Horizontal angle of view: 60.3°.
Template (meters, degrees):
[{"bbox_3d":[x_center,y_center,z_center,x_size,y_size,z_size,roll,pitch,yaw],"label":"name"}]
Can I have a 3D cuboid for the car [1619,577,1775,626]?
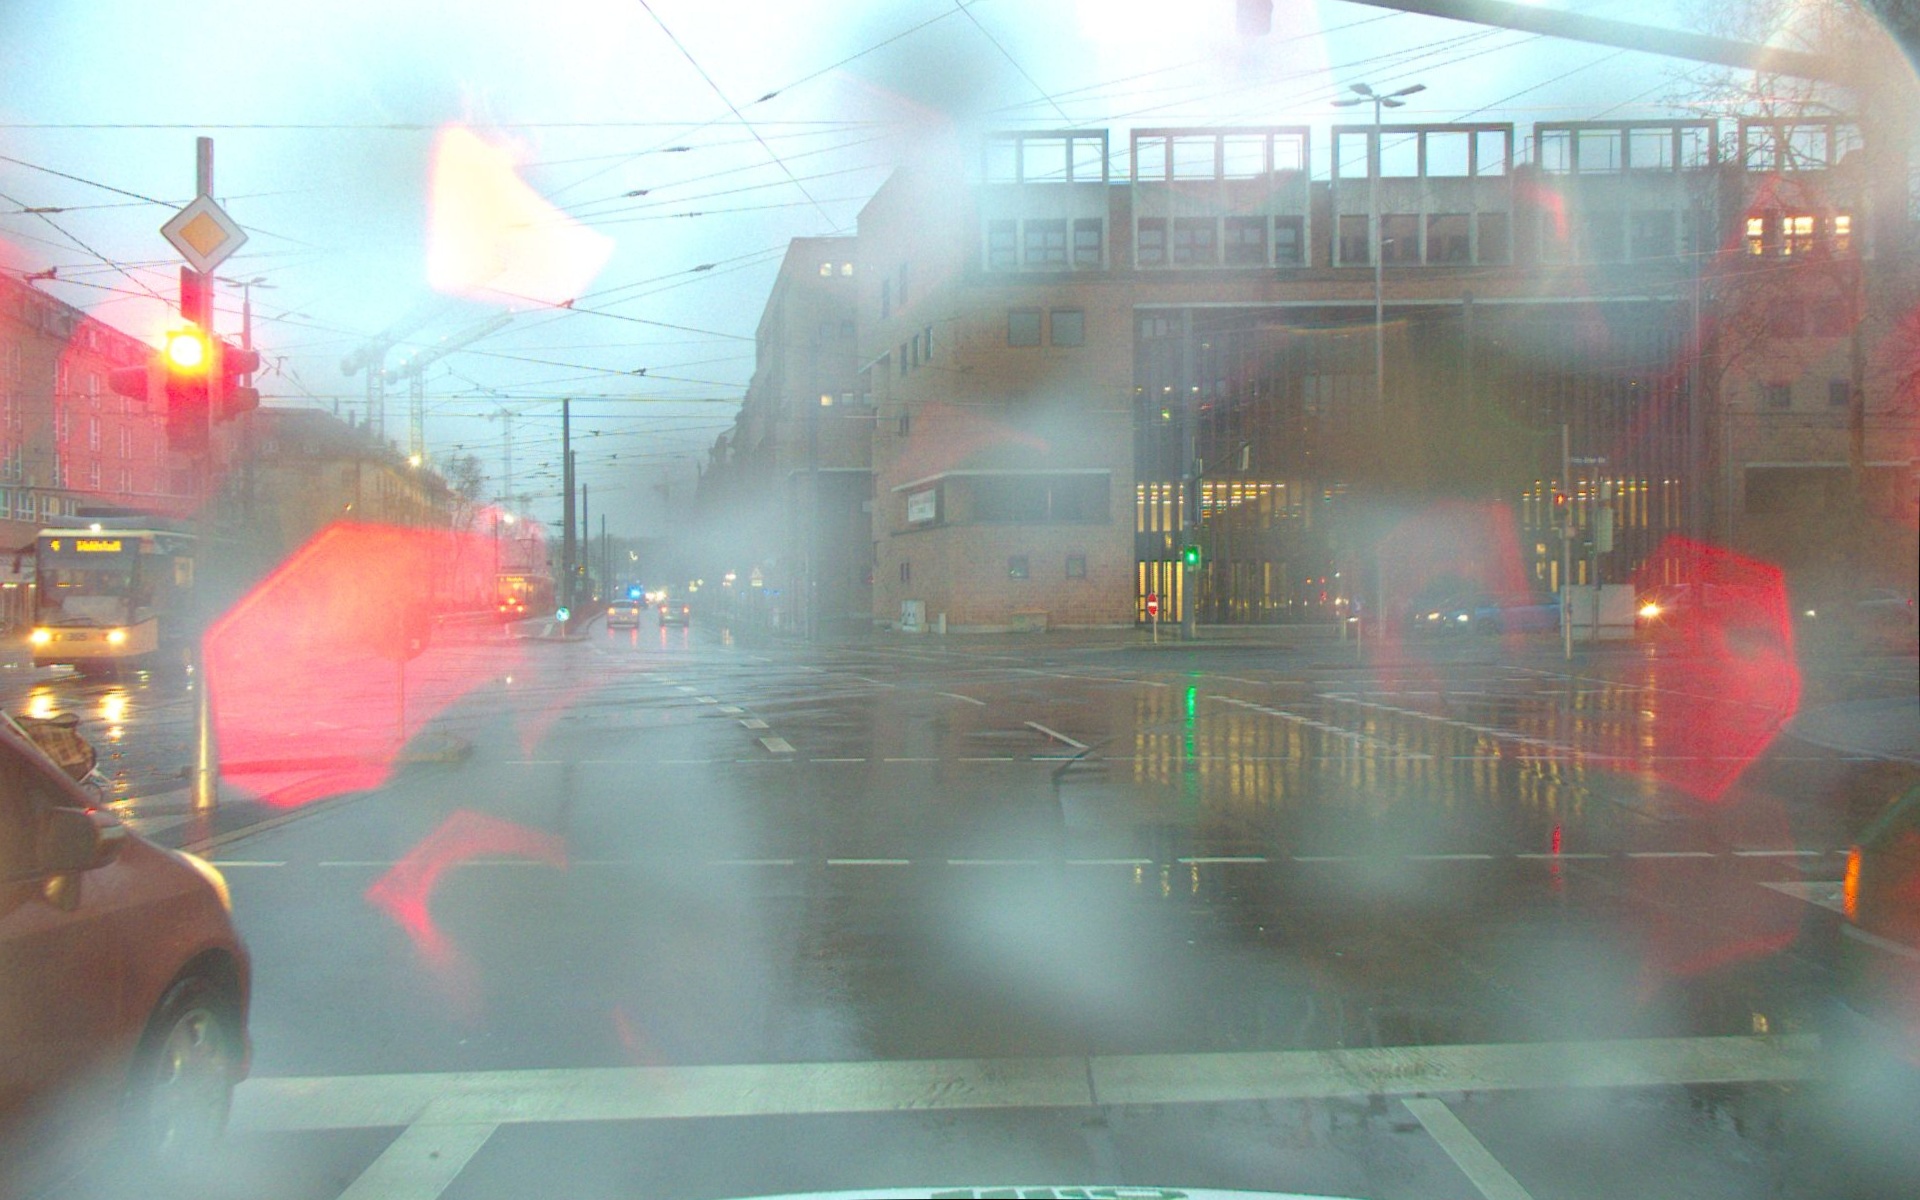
[{"bbox_3d":[22.301,0.020,50.136,3.910,1.310,1.846,-1,4,-7],"label":"car"}]

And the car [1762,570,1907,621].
[{"bbox_3d":[29.279,-0.164,55.418,3.910,1.530,1.846,-1,4,-7],"label":"car"}]

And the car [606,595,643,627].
[{"bbox_3d":[-18.390,0.593,90.838,1.837,1.606,3.990,2,0,-11],"label":"car"}]

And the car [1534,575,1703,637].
[{"bbox_3d":[18.187,0.142,45.781,3.910,1.530,1.846,-1,4,-7],"label":"car"}]

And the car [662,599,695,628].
[{"bbox_3d":[-17.101,0.801,100.526,1.836,1.606,3.992,2,0,-9],"label":"car"}]

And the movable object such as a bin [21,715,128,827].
[{"bbox_3d":[-6.125,1.173,11.445,0.405,0.711,0.535,-3,-1,39],"label":"movable object such as a bin"}]

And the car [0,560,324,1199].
[{"bbox_3d":[-2.604,0.682,2.729,1.663,1.485,3.757,-1,0,-1],"label":"car"}]

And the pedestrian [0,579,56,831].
[{"bbox_3d":[-6.618,0.701,10.802,0.703,1.629,1.031,-3,-1,40],"label":"pedestrian"}]

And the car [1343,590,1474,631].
[{"bbox_3d":[15.482,0.362,57.230,3.909,1.333,1.998,-1,0,-5],"label":"car"}]

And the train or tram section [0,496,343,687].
[{"bbox_3d":[-19.174,-0.184,42.083,2.812,3.677,20.022,-1,0,-10],"label":"train or tram section"}]

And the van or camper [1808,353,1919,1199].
[{"bbox_3d":[2.805,0.499,1.518,1.721,1.940,4.418,1,0,-1],"label":"van or camper"}]

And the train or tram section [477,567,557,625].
[{"bbox_3d":[-30.580,-0.267,115.457,3.133,3.496,27.760,-1,0,-10],"label":"train or tram section"}]

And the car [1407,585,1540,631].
[{"bbox_3d":[16.551,0.237,53.420,3.649,1.284,1.846,-1,4,-7],"label":"car"}]

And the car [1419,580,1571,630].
[{"bbox_3d":[15.930,0.137,49.323,3.910,1.284,1.846,-1,4,-7],"label":"car"}]
